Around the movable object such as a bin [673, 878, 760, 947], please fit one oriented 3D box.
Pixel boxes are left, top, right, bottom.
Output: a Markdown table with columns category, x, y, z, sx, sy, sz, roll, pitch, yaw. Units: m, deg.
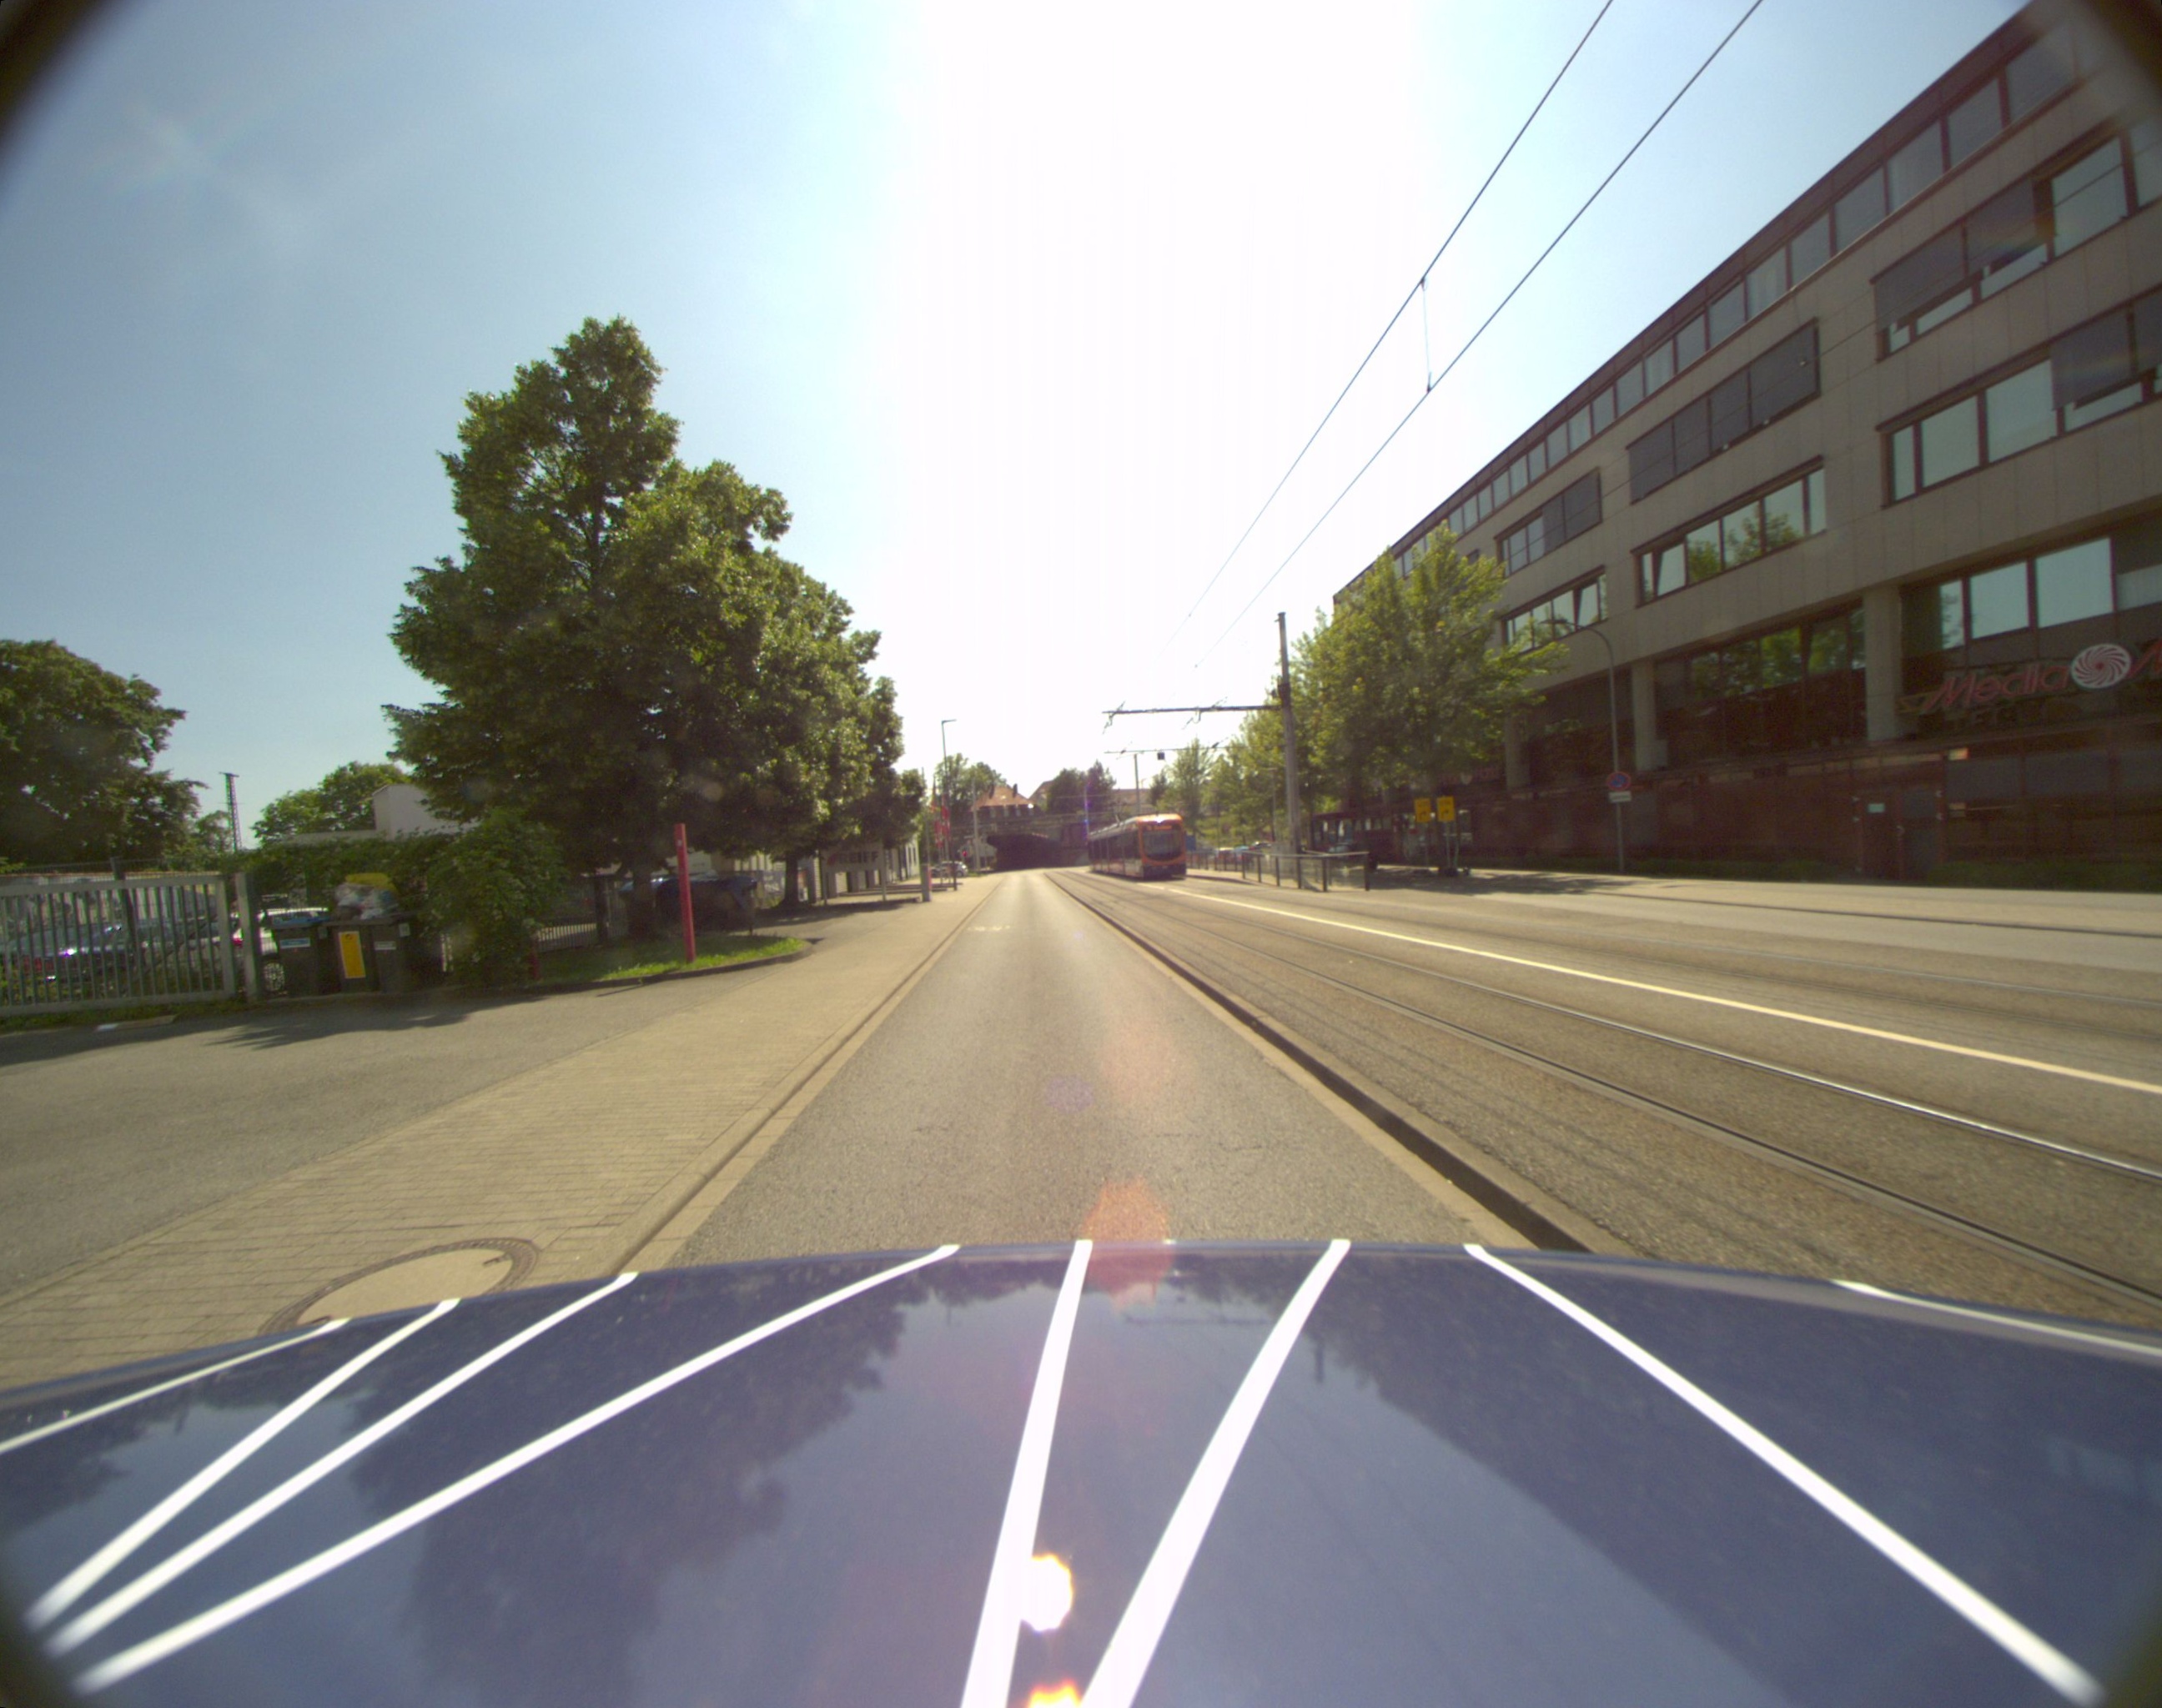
| category | x | y | z | sx | sy | sz | roll | pitch | yaw |
| --- | --- | --- | --- | --- | --- | --- | --- | --- | --- |
| movable object such as a bin | -8.319 | 1.325 | 17.370 | 1.386 | 1.422 | 0.991 | -3 | 3 | 21 |

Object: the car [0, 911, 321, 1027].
| category | x | y | z | sx | sy | sz | roll | pitch | yaw |
| --- | --- | --- | --- | --- | --- | --- | --- | --- | --- |
| car | -17.118 | 1.961 | 13.840 | 1.893 | 1.370 | 4.767 | -3 | 0 | -4 |

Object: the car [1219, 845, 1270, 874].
| category | x | y | z | sx | sy | sz | roll | pitch | yaw |
| --- | --- | --- | --- | --- | --- | --- | --- | --- | --- |
| car | 9.482 | 0.327 | 44.317 | 1.728 | 1.575 | 4.069 | -1 | 0 | -5 |

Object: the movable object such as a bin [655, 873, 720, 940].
| category | x | y | z | sx | sy | sz | roll | pitch | yaw |
| --- | --- | --- | --- | --- | --- | --- | --- | --- | --- |
| movable object such as a bin | -10.152 | 1.322 | 19.673 | 0.981 | 1.538 | 1.319 | -4 | 2 | -8 |

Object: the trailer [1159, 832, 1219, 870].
| category | x | y | z | sx | sy | sz | roll | pitch | yaw |
| --- | --- | --- | --- | --- | --- | --- | --- | --- | --- |
| trailer | 8.423 | -0.201 | 60.179 | 2.805 | 2.613 | 7.597 | -3 | 0 | -6 |

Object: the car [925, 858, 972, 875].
| category | x | y | z | sx | sy | sz | roll | pitch | yaw |
| --- | --- | --- | --- | --- | --- | --- | --- | --- | --- |
| car | -11.833 | 1.145 | 68.179 | 3.999 | 1.454 | 1.889 | 0 | 0 | -6 |

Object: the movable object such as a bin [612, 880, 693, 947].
| category | x | y | z | sx | sy | sz | roll | pitch | yaw |
| --- | --- | --- | --- | --- | --- | --- | --- | --- | --- |
| movable object such as a bin | -9.968 | 1.375 | 17.700 | 1.318 | 1.422 | 0.885 | -3 | 3 | 21 |

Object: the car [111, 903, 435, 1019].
| category | x | y | z | sx | sy | sz | roll | pitch | yaw |
| --- | --- | --- | --- | --- | --- | --- | --- | --- | --- |
| car | -14.447 | 1.815 | 13.997 | 1.748 | 1.451 | 3.999 | -4 | 0 | -4 |

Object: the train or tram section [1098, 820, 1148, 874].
| category | x | y | z | sx | sy | sz | roll | pitch | yaw |
| --- | --- | --- | --- | --- | --- | --- | --- | --- | --- |
| train or tram section | 2.841 | -0.441 | 52.529 | 2.618 | 3.427 | 5.008 | -3 | 0 | -5 |

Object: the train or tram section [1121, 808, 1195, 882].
| category | x | y | z | sx | sy | sz | roll | pitch | yaw |
| --- | --- | --- | --- | --- | --- | --- | --- | --- | --- |
| train or tram section | 3.888 | -0.456 | 39.727 | 2.587 | 3.427 | 6.360 | -3 | 0 | -5 |

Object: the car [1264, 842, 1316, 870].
| category | x | y | z | sx | sy | sz | roll | pitch | yaw |
| --- | --- | --- | --- | --- | --- | --- | --- | --- | --- |
| car | 12.411 | 0.092 | 45.292 | 1.727 | 1.455 | 3.903 | -5 | 0 | -3 |

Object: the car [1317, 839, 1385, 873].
| category | x | y | z | sx | sy | sz | roll | pitch | yaw |
| --- | --- | --- | --- | --- | --- | --- | --- | --- | --- |
| car | 13.524 | 0.100 | 38.315 | 1.765 | 1.510 | 3.999 | -4 | 0 | -3 |

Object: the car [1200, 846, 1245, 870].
| category | x | y | z | sx | sy | sz | roll | pitch | yaw |
| --- | --- | --- | --- | --- | --- | --- | --- | --- | --- |
| car | 9.280 | 0.276 | 50.136 | 1.728 | 1.464 | 4.277 | -2 | 0 | -5 |

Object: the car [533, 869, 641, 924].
| category | x | y | z | sx | sy | sz | roll | pitch | yaw |
| --- | --- | --- | --- | --- | --- | --- | --- | --- | --- |
| car | -20.043 | 1.661 | 31.072 | 1.837 | 1.916 | 3.999 | -5 | -1 | -4 |

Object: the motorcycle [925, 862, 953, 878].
| category | x | y | z | sx | sy | sz | roll | pitch | yaw |
| --- | --- | --- | --- | --- | --- | --- | --- | --- | --- |
| motorcycle | -11.737 | 1.328 | 62.653 | 2.190 | 1.301 | 0.731 | -1 | 1 | -6 |

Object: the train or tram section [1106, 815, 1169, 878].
| category | x | y | z | sx | sy | sz | roll | pitch | yaw |
| --- | --- | --- | --- | --- | --- | --- | --- | --- | --- |
| train or tram section | 3.324 | -0.449 | 46.463 | 2.587 | 3.427 | 7.133 | -3 | 0 | -5 |

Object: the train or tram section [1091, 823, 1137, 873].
| category | x | y | z | sx | sy | sz | roll | pitch | yaw |
| --- | --- | --- | --- | --- | --- | --- | --- | --- | --- |
| train or tram section | 2.432 | -0.431 | 57.960 | 2.618 | 3.427 | 5.840 | -3 | 0 | -5 |

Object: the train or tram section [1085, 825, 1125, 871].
| category | x | y | z | sx | sy | sz | roll | pitch | yaw |
| --- | --- | --- | --- | --- | --- | --- | --- | --- | --- |
| train or tram section | 1.946 | -0.467 | 63.753 | 2.618 | 3.512 | 5.740 | -3 | 0 | -5 |
